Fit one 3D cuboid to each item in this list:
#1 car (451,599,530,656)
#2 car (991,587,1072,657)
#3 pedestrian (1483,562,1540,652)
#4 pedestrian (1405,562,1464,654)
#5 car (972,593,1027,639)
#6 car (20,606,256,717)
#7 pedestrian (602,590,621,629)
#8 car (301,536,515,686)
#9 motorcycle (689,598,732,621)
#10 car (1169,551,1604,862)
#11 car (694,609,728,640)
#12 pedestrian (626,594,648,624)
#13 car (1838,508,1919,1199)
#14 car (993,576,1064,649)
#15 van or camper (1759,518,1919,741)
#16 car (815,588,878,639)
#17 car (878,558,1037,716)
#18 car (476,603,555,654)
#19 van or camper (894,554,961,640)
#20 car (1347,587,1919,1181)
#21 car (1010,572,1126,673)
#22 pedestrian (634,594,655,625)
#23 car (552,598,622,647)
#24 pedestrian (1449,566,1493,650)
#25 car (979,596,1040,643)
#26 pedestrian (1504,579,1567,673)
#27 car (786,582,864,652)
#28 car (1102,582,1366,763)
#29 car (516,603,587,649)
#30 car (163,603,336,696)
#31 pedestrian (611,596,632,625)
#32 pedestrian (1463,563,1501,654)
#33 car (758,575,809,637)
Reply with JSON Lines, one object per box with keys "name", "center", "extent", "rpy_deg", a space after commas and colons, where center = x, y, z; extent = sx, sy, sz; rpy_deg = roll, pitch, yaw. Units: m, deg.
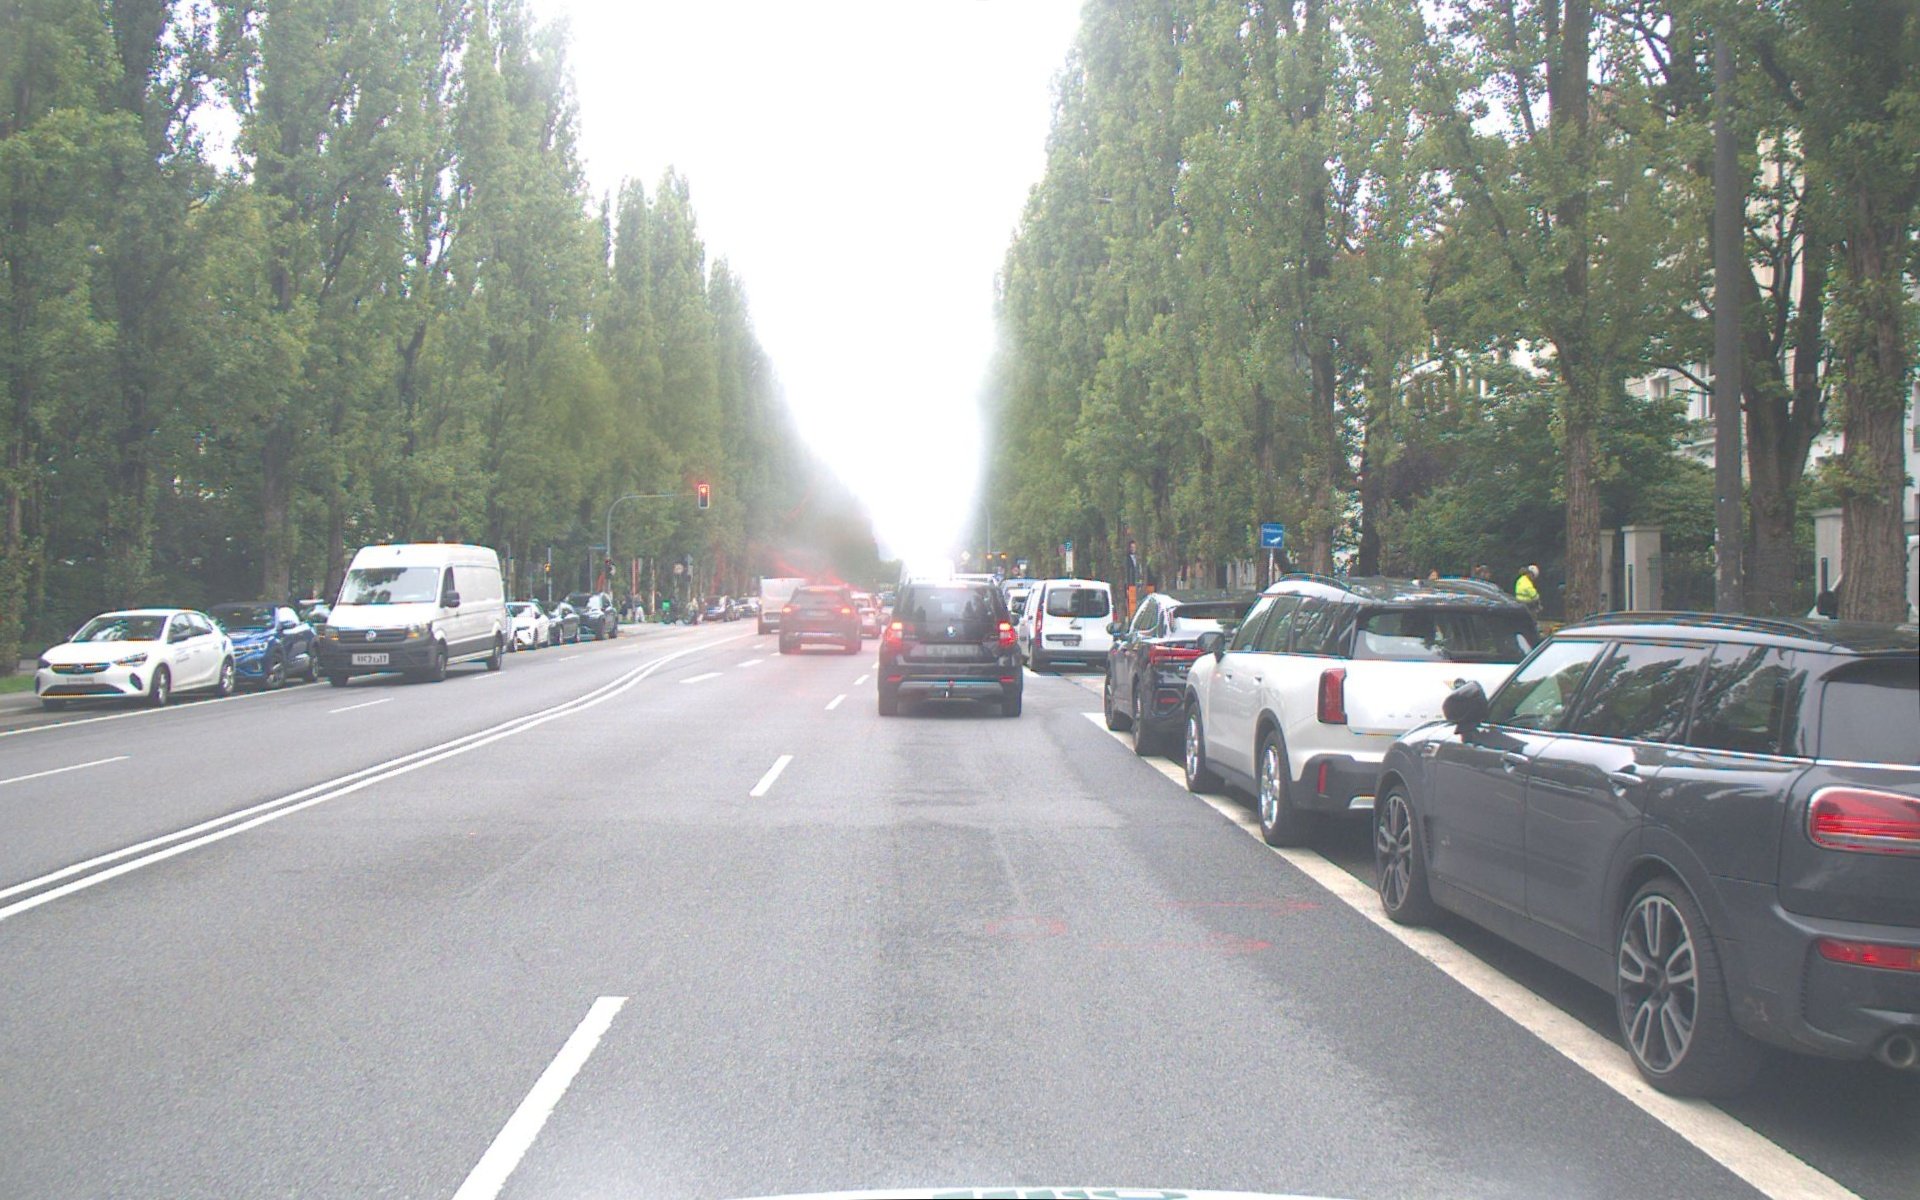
{"name": "car", "center": [-13.314, 0.748, 47.052], "extent": [1.399, 1.472, 2.965], "rpy_deg": [-4, 0, -2]}
{"name": "car", "center": [1.715, 0.501, 40.915], "extent": [1.706, 1.620, 4.210], "rpy_deg": [-1, 0, -2]}
{"name": "pedestrian", "center": [11.398, 0.141, 34.197], "extent": [0.787, 1.813, 0.816], "rpy_deg": [-1, 0, -19]}
{"name": "pedestrian", "center": [9.315, 0.156, 32.472], "extent": [0.836, 1.747, 0.867], "rpy_deg": [-2, 0, -2]}
{"name": "car", "center": [1.340, 0.540, 57.557], "extent": [1.700, 1.501, 3.561], "rpy_deg": [-1, 0, -2]}
{"name": "car", "center": [-12.838, 0.901, 26.136], "extent": [1.735, 1.477, 4.231], "rpy_deg": [-3, 0, -3]}
{"name": "pedestrian", "center": [-14.543, 0.404, 68.992], "extent": [0.647, 1.605, 0.530], "rpy_deg": [-1, 0, -1]}
{"name": "car", "center": [-10.528, 0.171, 32.222], "extent": [2.184, 2.526, 6.753], "rpy_deg": [-2, 0, -4]}
{"name": "motorcycle", "center": [-14.248, 0.538, 94.575], "extent": [2.315, 1.292, 0.930], "rpy_deg": [0, 0, -1]}
{"name": "car", "center": [2.658, 0.568, 11.463], "extent": [1.707, 1.705, 4.578], "rpy_deg": [-1, 0, -2]}
{"name": "car", "center": [-15.486, 1.484, 103.001], "extent": [1.654, 1.814, 3.774], "rpy_deg": [-1, 0, -2]}
{"name": "pedestrian", "center": [-18.368, 0.536, 94.080], "extent": [0.874, 1.684, 0.865], "rpy_deg": [-1, 0, -39]}
{"name": "car", "center": [3.032, 0.631, 1.644], "extent": [1.748, 1.646, 4.636], "rpy_deg": [-1, 0, -2]}
{"name": "car", "center": [1.875, 0.325, 46.196], "extent": [1.700, 1.928, 4.023], "rpy_deg": [-1, 0, -2]}
{"name": "van or camper", "center": [9.473, 0.269, 14.729], "extent": [2.034, 1.967, 5.367], "rpy_deg": [0, 0, -1]}
{"name": "car", "center": [-3.759, 0.432, 55.327], "extent": [1.954, 1.588, 3.998], "rpy_deg": [-1, 1, -3]}
{"name": "car", "center": [-0.079, 0.425, 21.313], "extent": [1.818, 1.801, 3.999], "rpy_deg": [1, 0, -2]}
{"name": "car", "center": [-13.643, 0.842, 50.995], "extent": [1.592, 1.413, 4.162], "rpy_deg": [-3, 0, -5]}
{"name": "van or camper", "center": [-1.071, -0.104, 52.448], "extent": [1.936, 2.593, 4.022], "rpy_deg": [-1, 0, -3]}
{"name": "car", "center": [2.927, 0.733, 6.539], "extent": [1.668, 1.546, 4.293], "rpy_deg": [-1, 0, -2]}
{"name": "car", "center": [2.134, 0.417, 33.718], "extent": [1.814, 1.914, 4.165], "rpy_deg": [-1, 0, -4]}
{"name": "pedestrian", "center": [-17.821, 0.537, 93.376], "extent": [0.874, 1.684, 0.865], "rpy_deg": [-1, 0, -39]}
{"name": "car", "center": [-14.037, 0.812, 62.490], "extent": [1.813, 1.683, 4.692], "rpy_deg": [-3, 0, -4]}
{"name": "pedestrian", "center": [10.053, 0.154, 32.546], "extent": [0.556, 1.606, 0.867], "rpy_deg": [-1, 0, -2]}
{"name": "car", "center": [1.513, 0.586, 52.056], "extent": [1.700, 1.411, 3.561], "rpy_deg": [-1, 0, -2]}
{"name": "pedestrian", "center": [11.662, 0.509, 33.538], "extent": [0.889, 1.831, 0.825], "rpy_deg": [-1, 3, -23]}
{"name": "car", "center": [-3.333, 0.385, 41.443], "extent": [1.745, 1.648, 4.023], "rpy_deg": [0, 0, -2]}
{"name": "car", "center": [2.593, 0.616, 16.728], "extent": [1.842, 1.567, 4.463], "rpy_deg": [-1, 0, -1]}
{"name": "car", "center": [-13.913, 0.844, 56.543], "extent": [1.591, 1.413, 4.163], "rpy_deg": [-3, 0, -4]}
{"name": "car", "center": [-12.882, 0.853, 30.212], "extent": [1.675, 1.476, 3.584], "rpy_deg": [-3, 0, -3]}
{"name": "pedestrian", "center": [-19.416, 0.602, 94.939], "extent": [0.874, 1.684, 0.865], "rpy_deg": [-1, 0, -39]}
{"name": "pedestrian", "center": [11.013, 0.174, 34.904], "extent": [0.479, 1.895, 0.635], "rpy_deg": [-1, 0, -19]}
{"name": "car", "center": [-6.376, 0.202, 60.057], "extent": [1.746, 2.148, 4.021], "rpy_deg": [0, 0, -5]}
